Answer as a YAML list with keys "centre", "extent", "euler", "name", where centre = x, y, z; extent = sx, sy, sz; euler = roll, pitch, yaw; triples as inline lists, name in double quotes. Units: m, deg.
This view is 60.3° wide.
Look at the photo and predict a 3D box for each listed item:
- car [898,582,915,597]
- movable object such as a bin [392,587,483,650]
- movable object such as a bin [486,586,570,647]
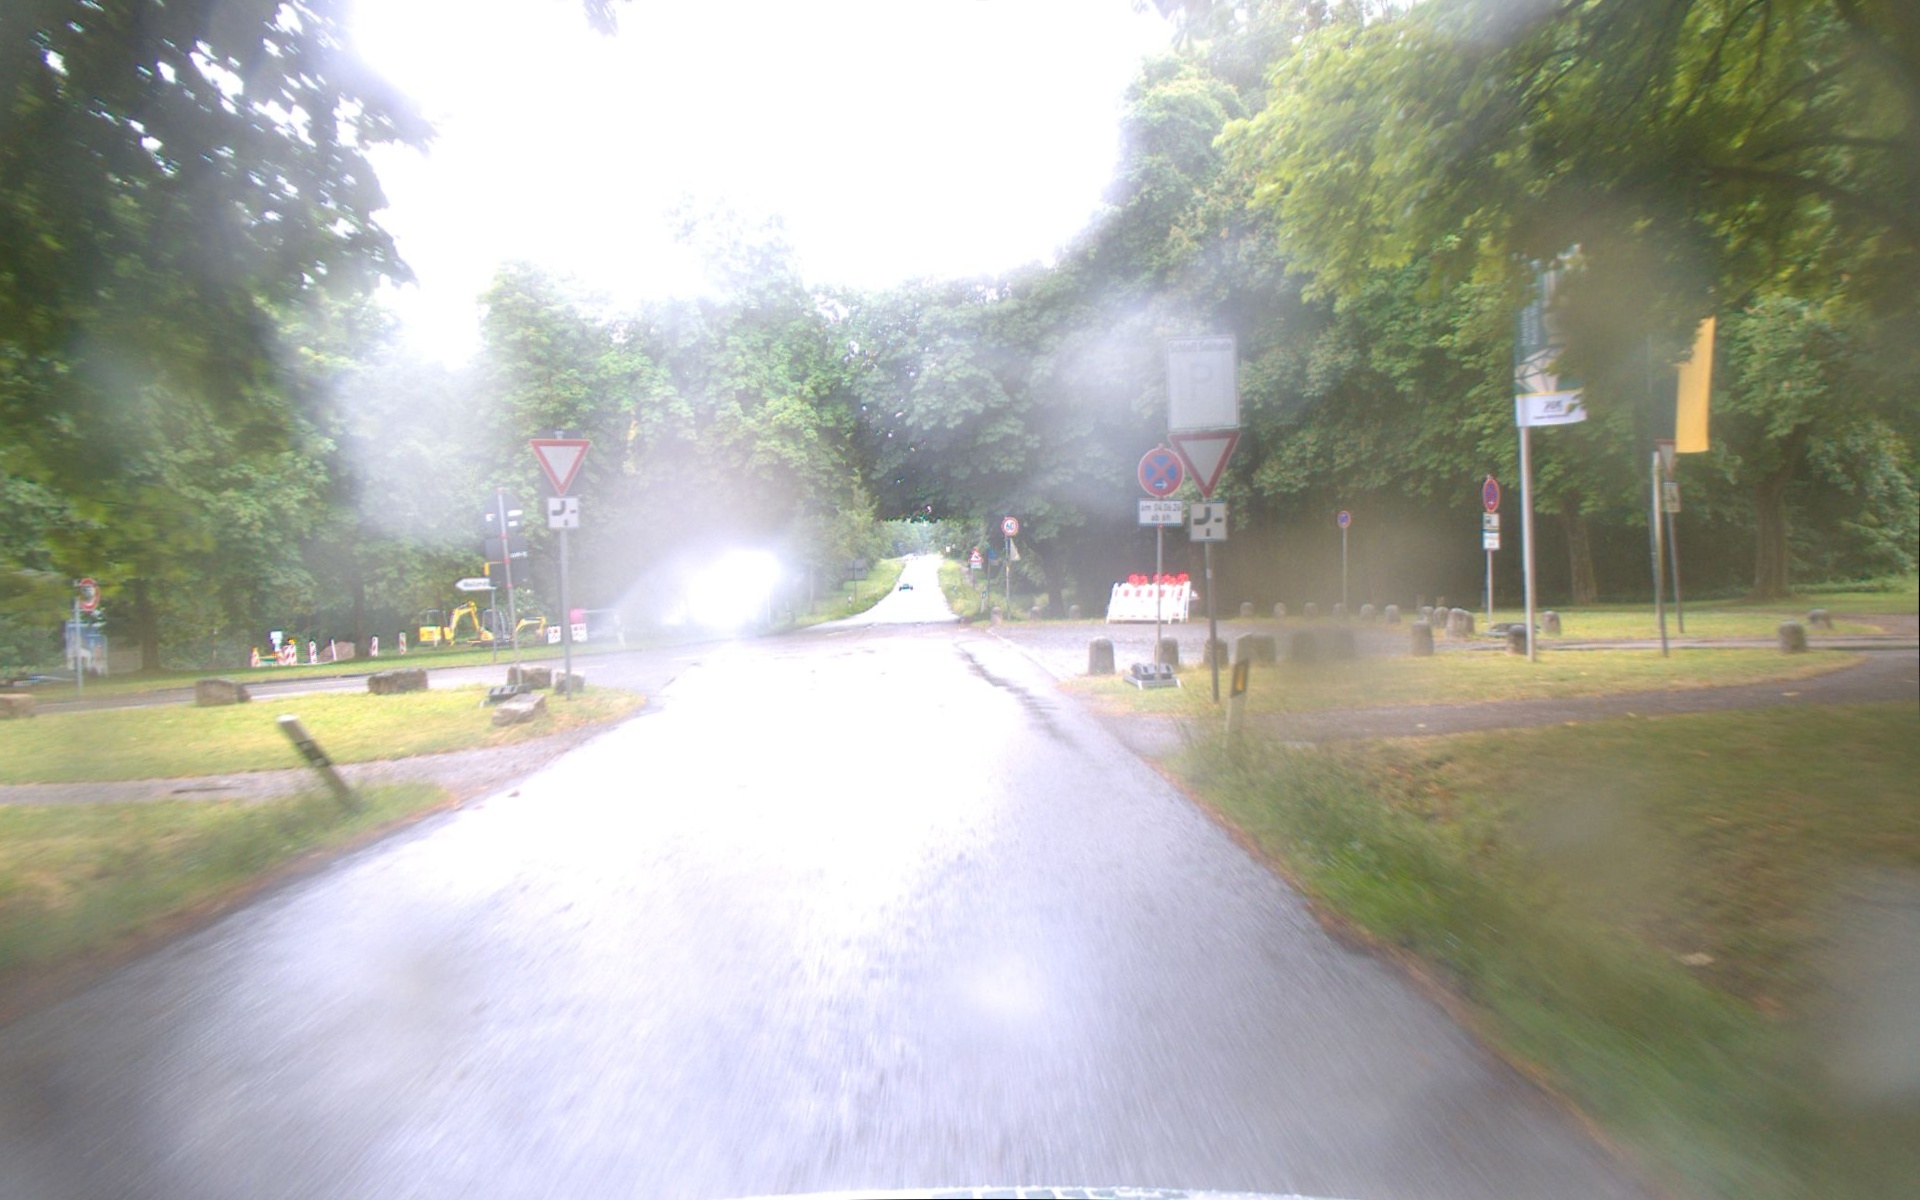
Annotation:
- centre: [-6.838, -1.354, 211.385]
  extent: [1.953, 1.746, 3.999]
  euler: [-3, 1, -1]
  name: "car"
- centre: [-30.807, 1.079, 97.658]
  extent: [4.574, 3.351, 3.902]
  euler: [-3, 0, -12]
  name: "movable object such as a bin"
- centre: [-25.921, 0.988, 99.401]
  extent: [4.502, 3.351, 3.655]
  euler: [-3, 0, -12]
  name: "movable object such as a bin"
